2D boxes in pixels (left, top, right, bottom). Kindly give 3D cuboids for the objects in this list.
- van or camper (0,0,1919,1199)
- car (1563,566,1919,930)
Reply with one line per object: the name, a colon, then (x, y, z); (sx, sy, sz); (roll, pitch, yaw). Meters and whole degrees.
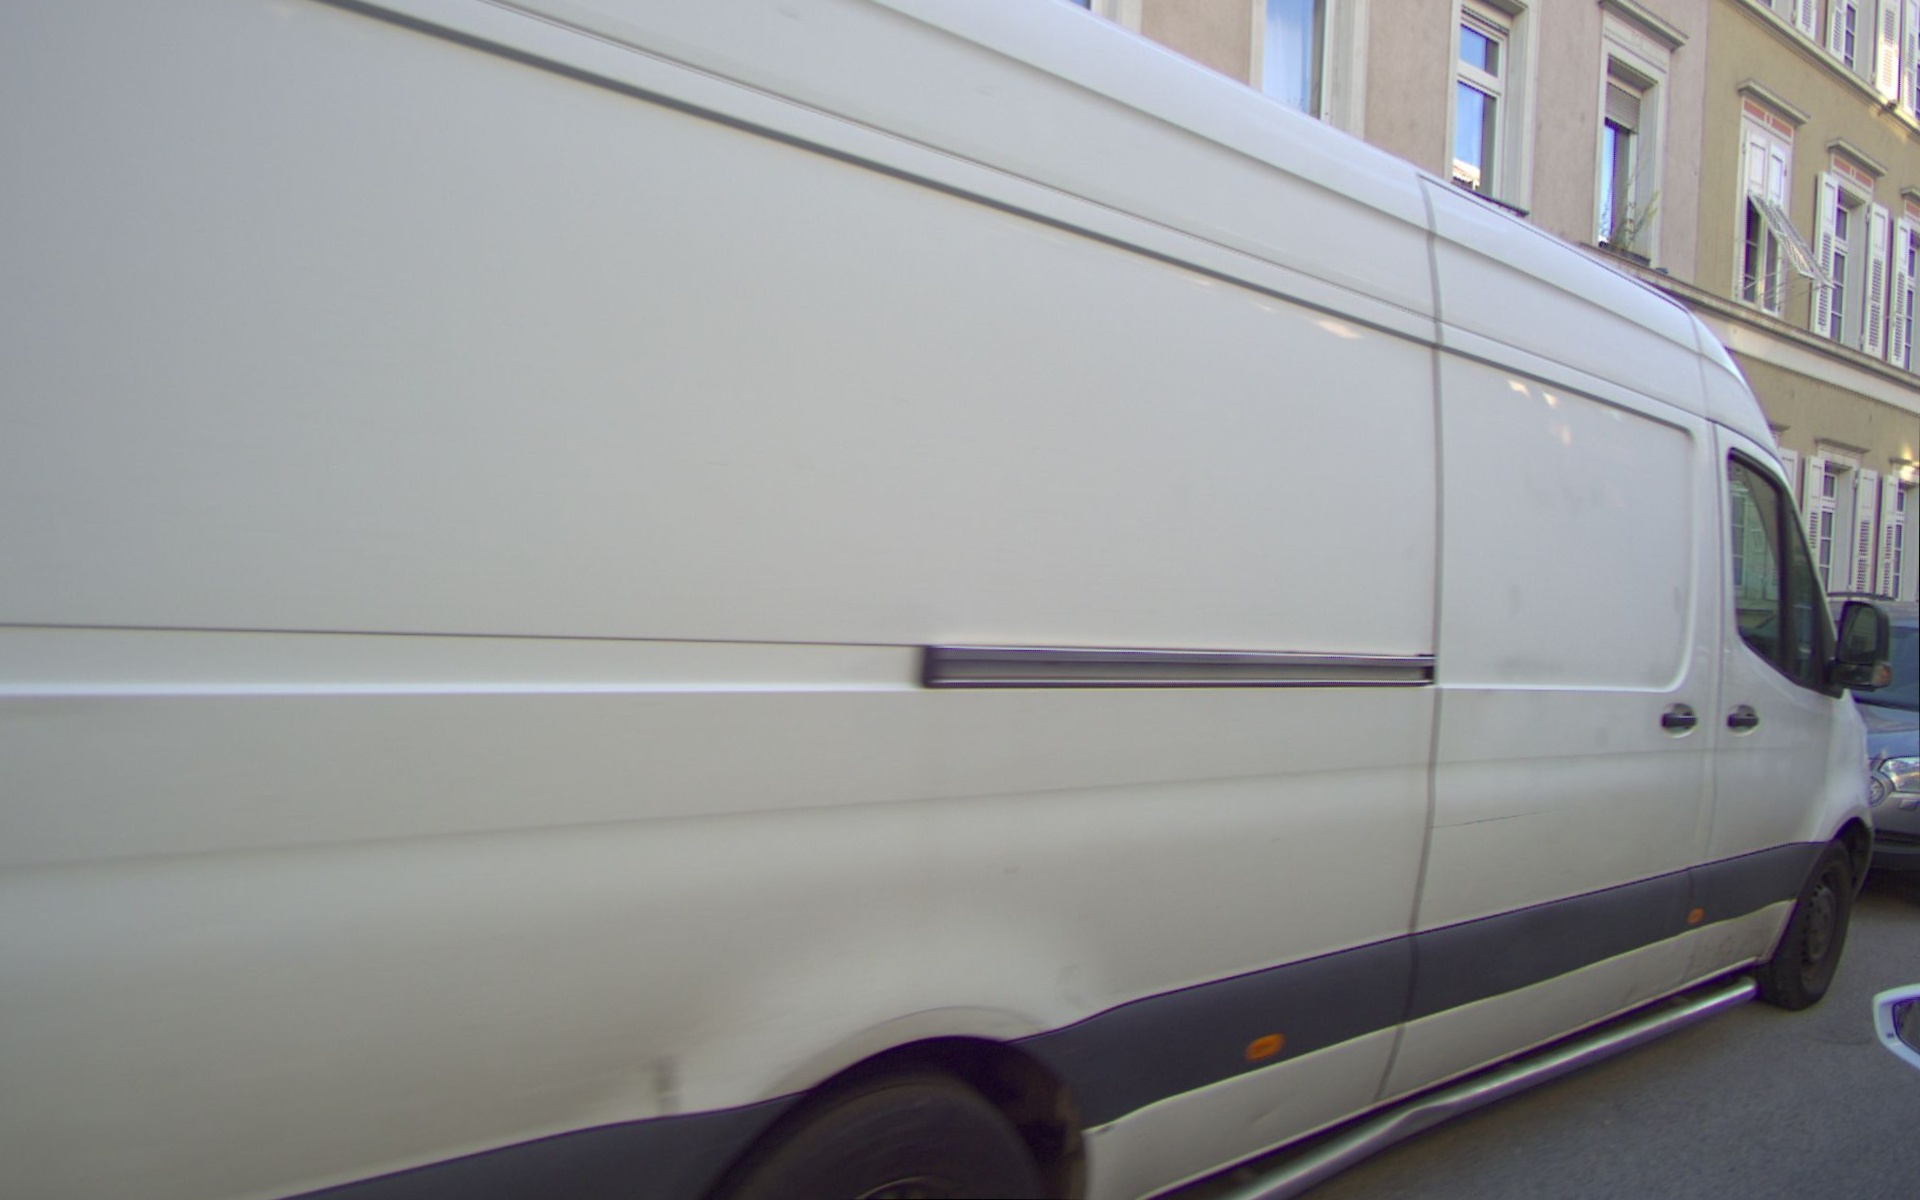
van or camper: (0.894, 0.182, 3.273); (7.064, 2.684, 1.938); (2, -1, -33)
car: (6.142, 0.767, 6.707); (4.245, 1.774, 1.853); (2, 1, -32)
